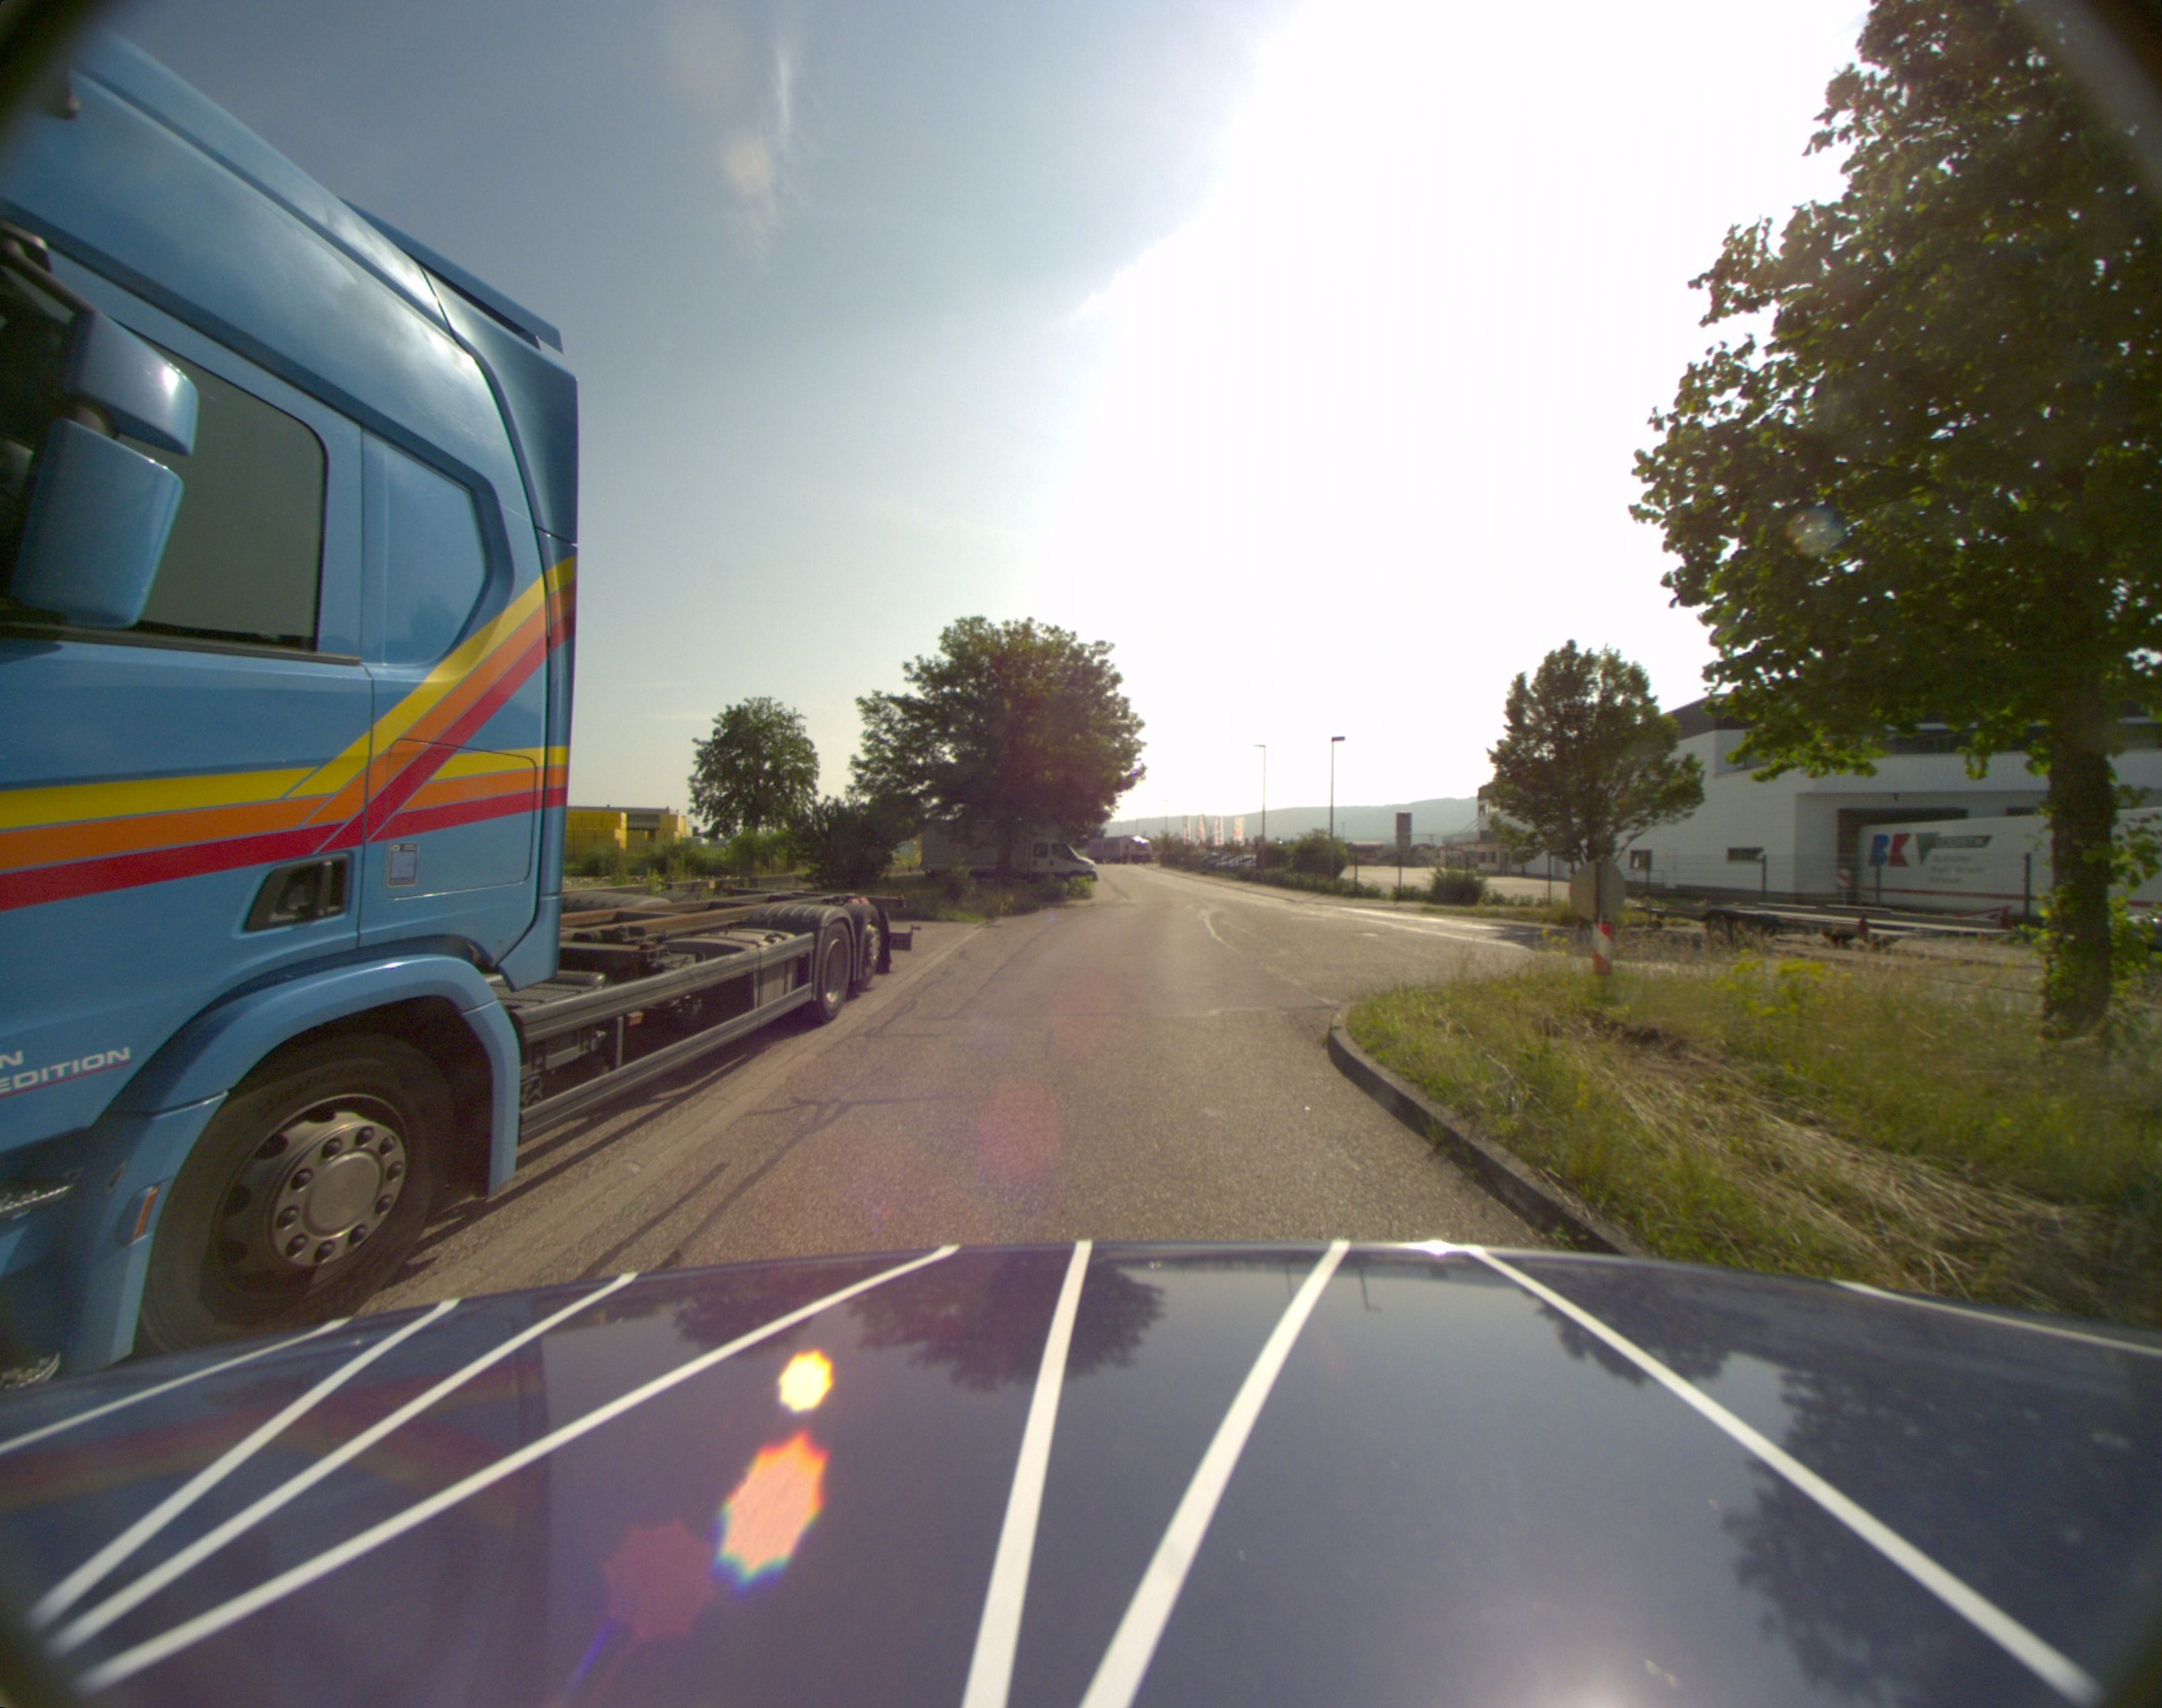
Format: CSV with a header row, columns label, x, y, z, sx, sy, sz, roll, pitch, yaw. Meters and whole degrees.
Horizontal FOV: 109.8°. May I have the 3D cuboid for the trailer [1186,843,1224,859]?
label,x,y,z,sx,sy,sz,roll,pitch,yaw
trailer,21.819,-0.491,134.076,6.315,2.590,2.857,2,1,14

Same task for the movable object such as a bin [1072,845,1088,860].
label,x,y,z,sx,sy,sz,roll,pitch,yaw
movable object such as a bin,-0.229,-0.388,160.958,2.436,2.994,5.749,2,1,-7

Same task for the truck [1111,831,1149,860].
label,x,y,z,sx,sy,sz,roll,pitch,yaw
truck,7.265,-1.299,112.603,3.401,4.183,6.087,-2,2,-20

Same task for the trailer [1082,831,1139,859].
label,x,y,z,sx,sy,sz,roll,pitch,yaw
trailer,4.430,-1.459,119.962,3.503,4.183,14.205,-2,2,-21

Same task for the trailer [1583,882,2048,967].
label,x,y,z,sx,sy,sz,roll,pitch,yaw
trailer,13.454,1.196,14.960,2.553,0.920,6.708,-3,0,-1

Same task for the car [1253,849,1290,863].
label,x,y,z,sx,sy,sz,roll,pitch,yaw
car,25.633,0.276,102.307,4.654,1.742,2.155,1,1,21

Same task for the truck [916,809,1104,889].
label,x,y,z,sx,sy,sz,roll,pitch,yaw
truck,-3.170,-0.251,35.015,8.230,3.351,2.740,1,2,-1

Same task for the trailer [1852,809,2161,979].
label,x,y,z,sx,sy,sz,roll,pitch,yaw
trailer,27.640,0.824,20.859,2.485,4.019,13.901,-1,1,16

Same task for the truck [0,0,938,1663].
label,x,y,z,sx,sy,sz,roll,pitch,yaw
truck,-3.583,-0.215,5.692,2.895,3.515,9.753,4,1,0

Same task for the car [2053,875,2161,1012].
label,x,y,z,sx,sy,sz,roll,pitch,yaw
car,13.611,1.069,7.795,1.700,1.552,4.335,-2,0,0
